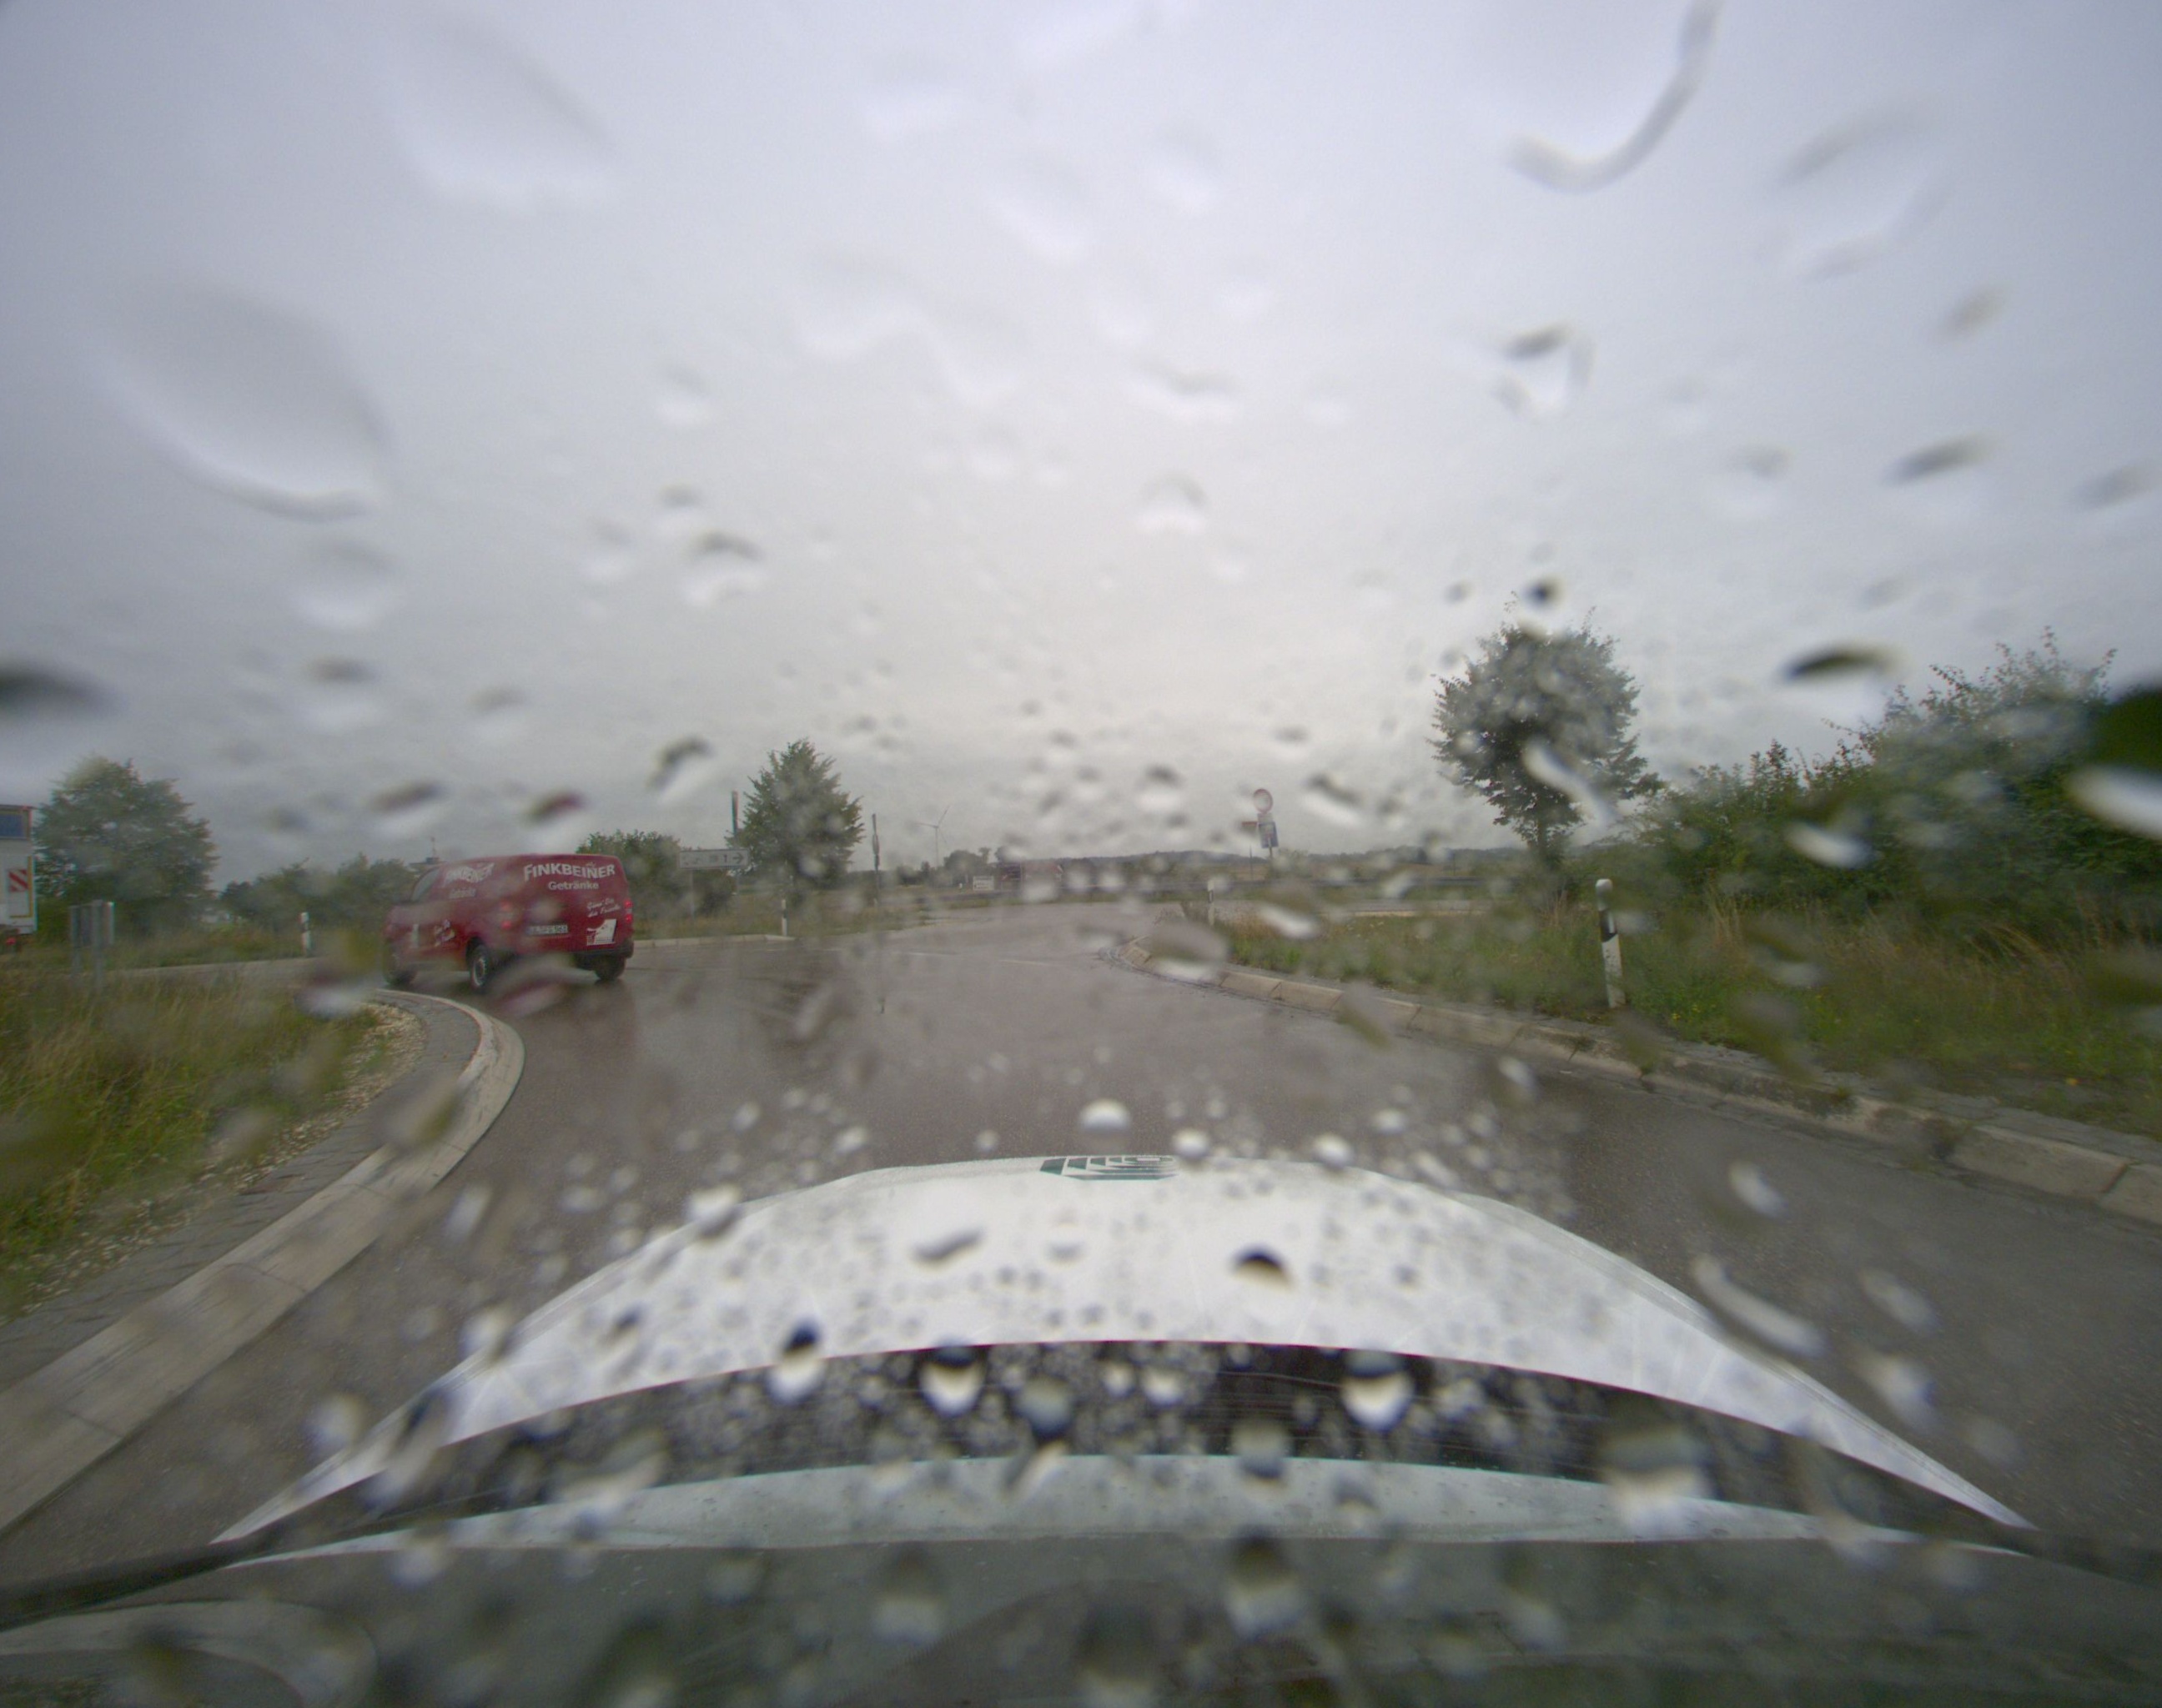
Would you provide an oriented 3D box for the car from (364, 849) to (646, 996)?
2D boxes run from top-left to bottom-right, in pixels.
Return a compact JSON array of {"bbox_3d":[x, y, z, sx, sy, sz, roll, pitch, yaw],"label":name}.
[{"bbox_3d":[-9.171,0.967,12.825,4.914,1.870,2.013,-2,0,35],"label":"car"}]

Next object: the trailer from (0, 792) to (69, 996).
[{"bbox_3d":[-25.090,0.958,14.928,9.645,3.819,2.843,-3,-1,2],"label":"trailer"}]
